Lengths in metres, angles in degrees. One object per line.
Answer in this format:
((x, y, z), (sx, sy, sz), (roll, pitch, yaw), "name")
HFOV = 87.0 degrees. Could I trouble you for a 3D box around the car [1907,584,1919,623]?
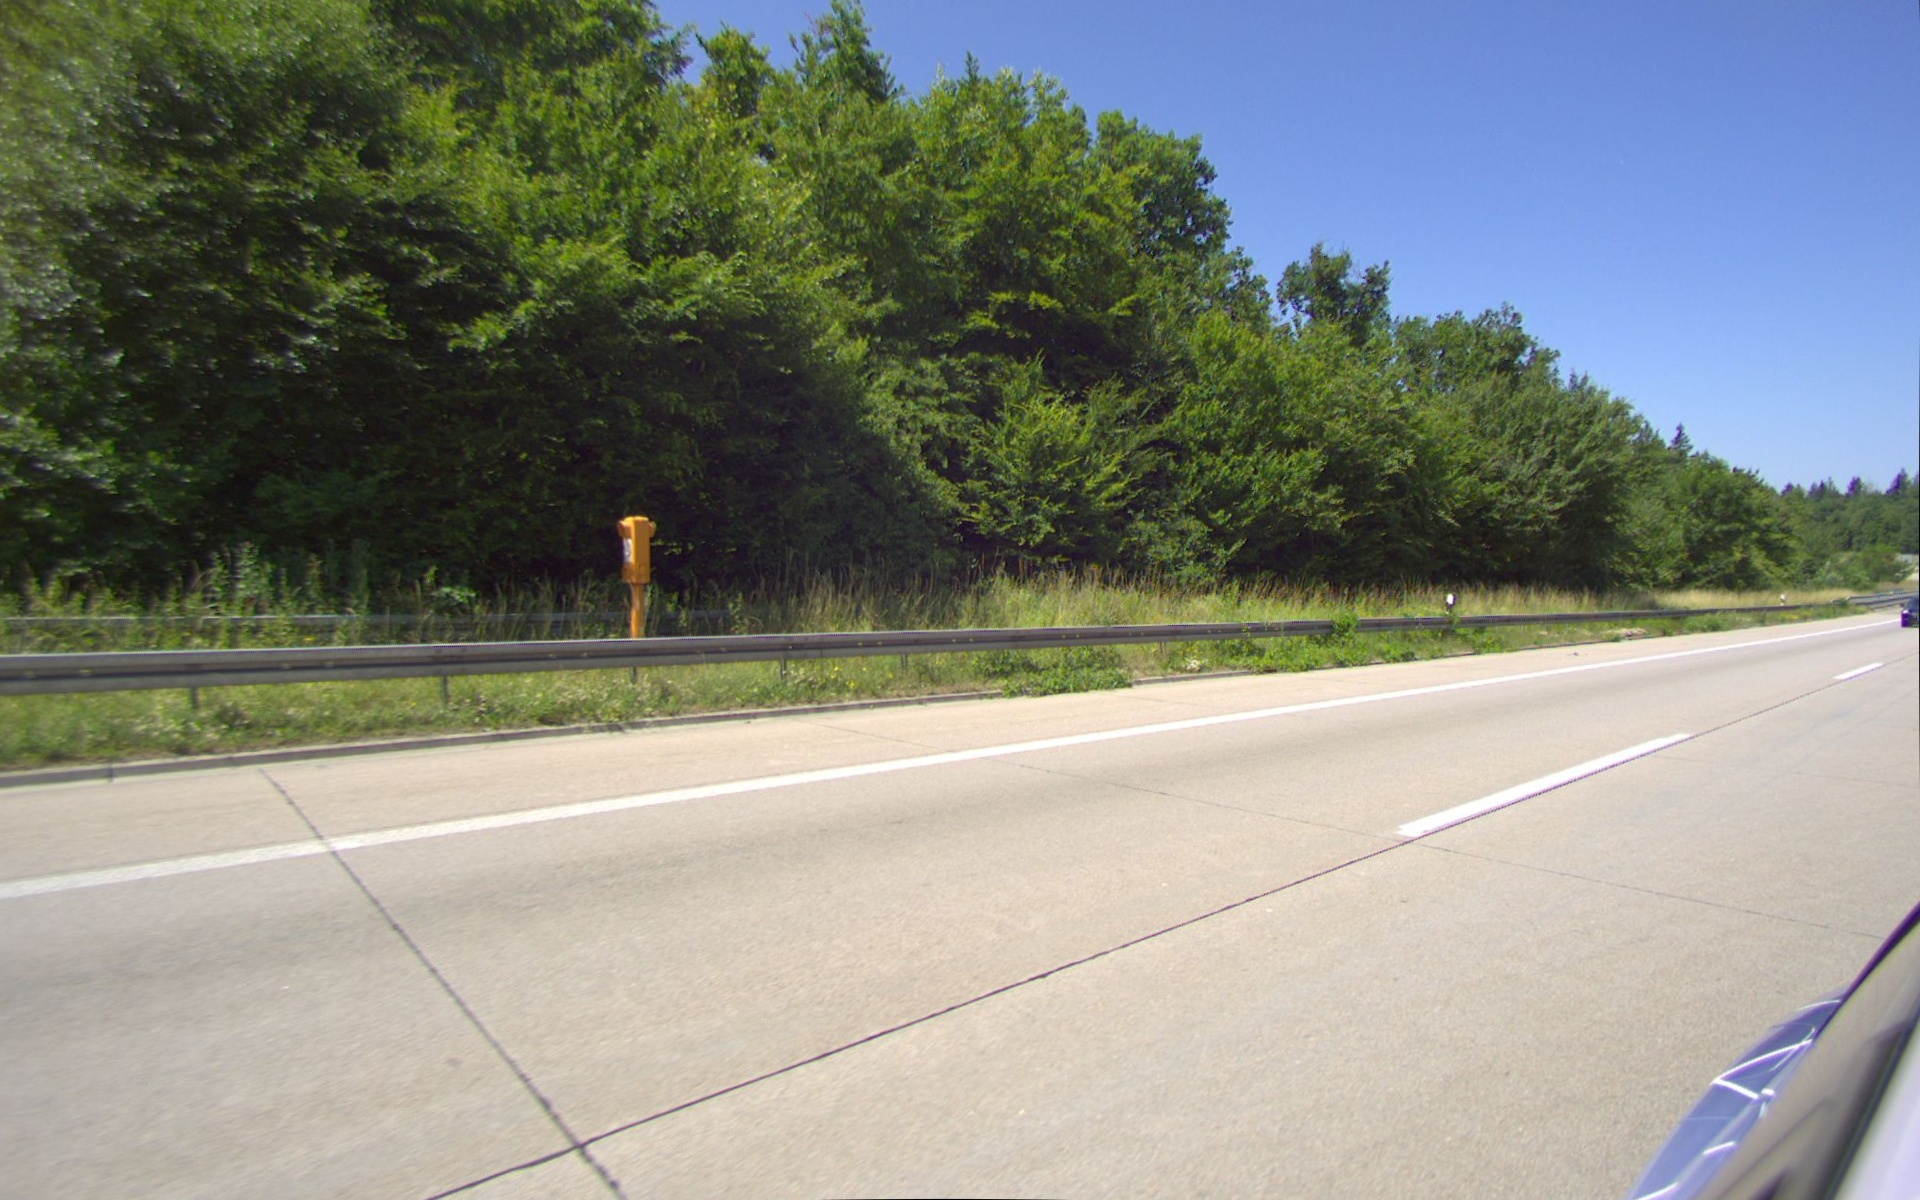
((45.782, 0.141, 47.155), (4.323, 1.725, 1.929), (-1, 1, -41), "car")
